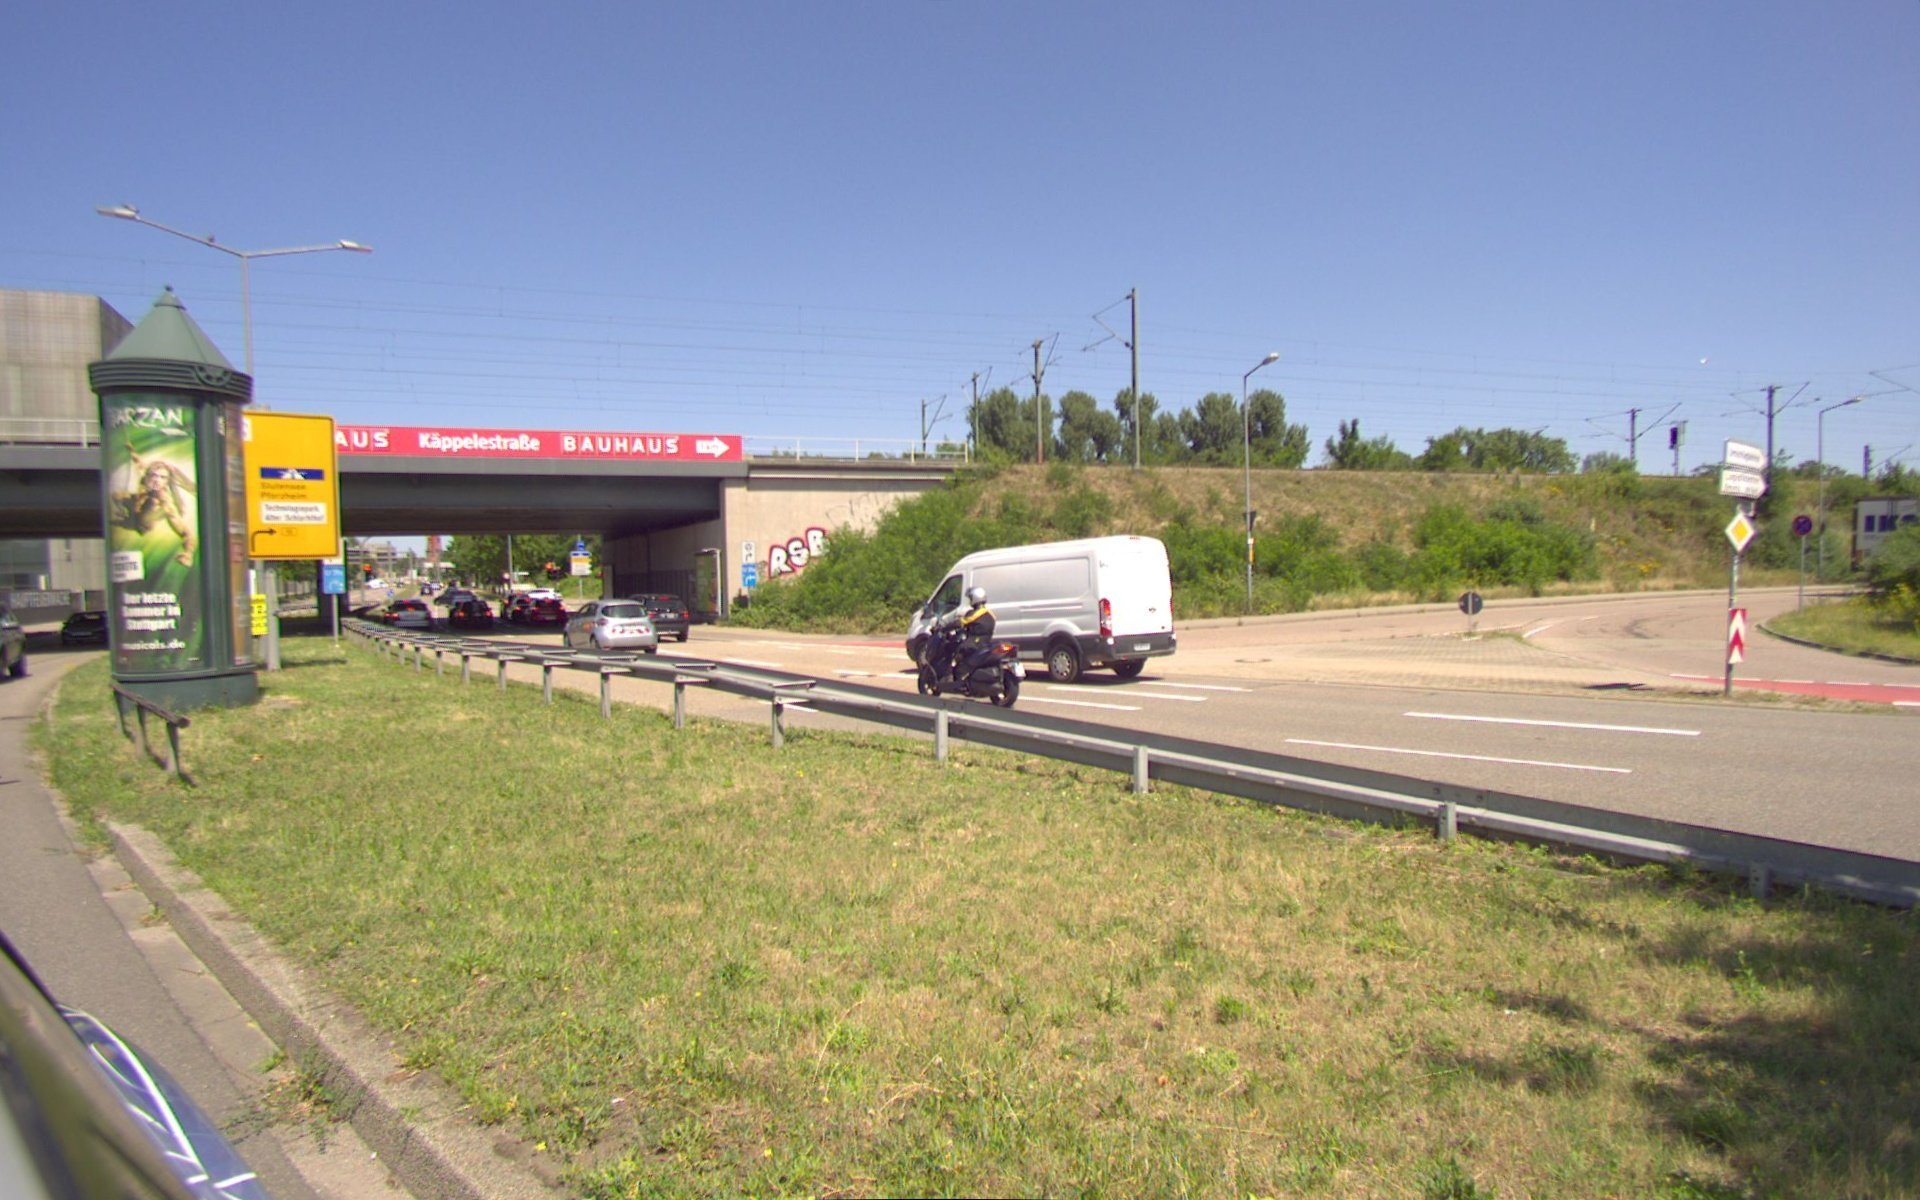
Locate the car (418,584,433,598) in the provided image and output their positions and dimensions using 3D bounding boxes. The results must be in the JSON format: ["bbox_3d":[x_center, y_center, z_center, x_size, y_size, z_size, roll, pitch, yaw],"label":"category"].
[{"bbox_3d":[-76.460,-1.279,144.650,1.809,2.029,4.013,-1,0,-29],"label":"car"}]

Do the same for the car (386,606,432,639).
[{"bbox_3d":[-24.616,0.976,45.323,1.611,1.413,4.235,0,-1,-26],"label":"car"}]

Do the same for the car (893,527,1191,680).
[{"bbox_3d":[1.363,0.169,19.502,2.069,2.519,5.815,0,-2,-42],"label":"car"}]

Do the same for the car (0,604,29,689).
[{"bbox_3d":[-20.965,0.954,21.103,1.817,1.708,3.709,-1,0,-35],"label":"car"}]

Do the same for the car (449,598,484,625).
[{"bbox_3d":[-28.072,0.635,57.627,1.592,1.487,3.444,-1,0,-22],"label":"car"}]

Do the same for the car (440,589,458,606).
[{"bbox_3d":[-63.633,-0.308,126.088,1.809,2.029,4.013,-1,0,-29],"label":"car"}]

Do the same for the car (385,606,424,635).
[{"bbox_3d":[-27.629,0.990,50.389,1.388,1.329,3.272,-1,0,-23],"label":"car"}]

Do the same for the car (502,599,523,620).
[{"bbox_3d":[-28.262,0.588,63.940,1.166,1.257,2.701,-1,0,-22],"label":"car"}]

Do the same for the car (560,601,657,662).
[{"bbox_3d":[-9.937,0.870,28.432,1.612,1.579,4.083,0,-1,-33],"label":"car"}]

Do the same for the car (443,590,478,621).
[{"bbox_3d":[-31.204,0.333,63.196,1.875,1.874,4.013,-1,0,-26],"label":"car"}]

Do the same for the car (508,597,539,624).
[{"bbox_3d":[-25.115,0.591,58.334,1.548,1.514,3.418,-1,0,-22],"label":"car"}]

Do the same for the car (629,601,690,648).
[{"bbox_3d":[-10.719,0.813,35.961,1.493,1.553,3.692,-1,0,-25],"label":"car"}]

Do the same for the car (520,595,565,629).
[{"bbox_3d":[-22.030,0.603,53.370,1.747,1.680,4.028,-1,0,-29],"label":"car"}]

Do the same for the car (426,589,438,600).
[{"bbox_3d":[-101.661,-1.064,194.823,1.965,2.029,4.013,-1,0,-28],"label":"car"}]

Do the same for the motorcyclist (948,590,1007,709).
[{"bbox_3d":[0.245,0.679,14.334,0.580,1.638,0.563,-1,0,-45],"label":"motorcyclist"}]

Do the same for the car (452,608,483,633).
[{"bbox_3d":[-25.296,1.024,52.062,1.250,1.194,2.787,-1,0,-22],"label":"car"}]

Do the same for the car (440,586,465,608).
[{"bbox_3d":[-48.201,-0.308,96.071,1.965,2.029,4.013,-1,0,-28],"label":"car"}]

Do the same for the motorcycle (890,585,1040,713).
[{"bbox_3d":[0.030,0.660,14.535,0.591,1.691,2.427,-1,0,-45],"label":"motorcycle"}]

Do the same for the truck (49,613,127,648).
[{"bbox_3d":[-41.225,1.393,47.926,1.702,1.513,4.013,-1,0,-24],"label":"truck"}]
